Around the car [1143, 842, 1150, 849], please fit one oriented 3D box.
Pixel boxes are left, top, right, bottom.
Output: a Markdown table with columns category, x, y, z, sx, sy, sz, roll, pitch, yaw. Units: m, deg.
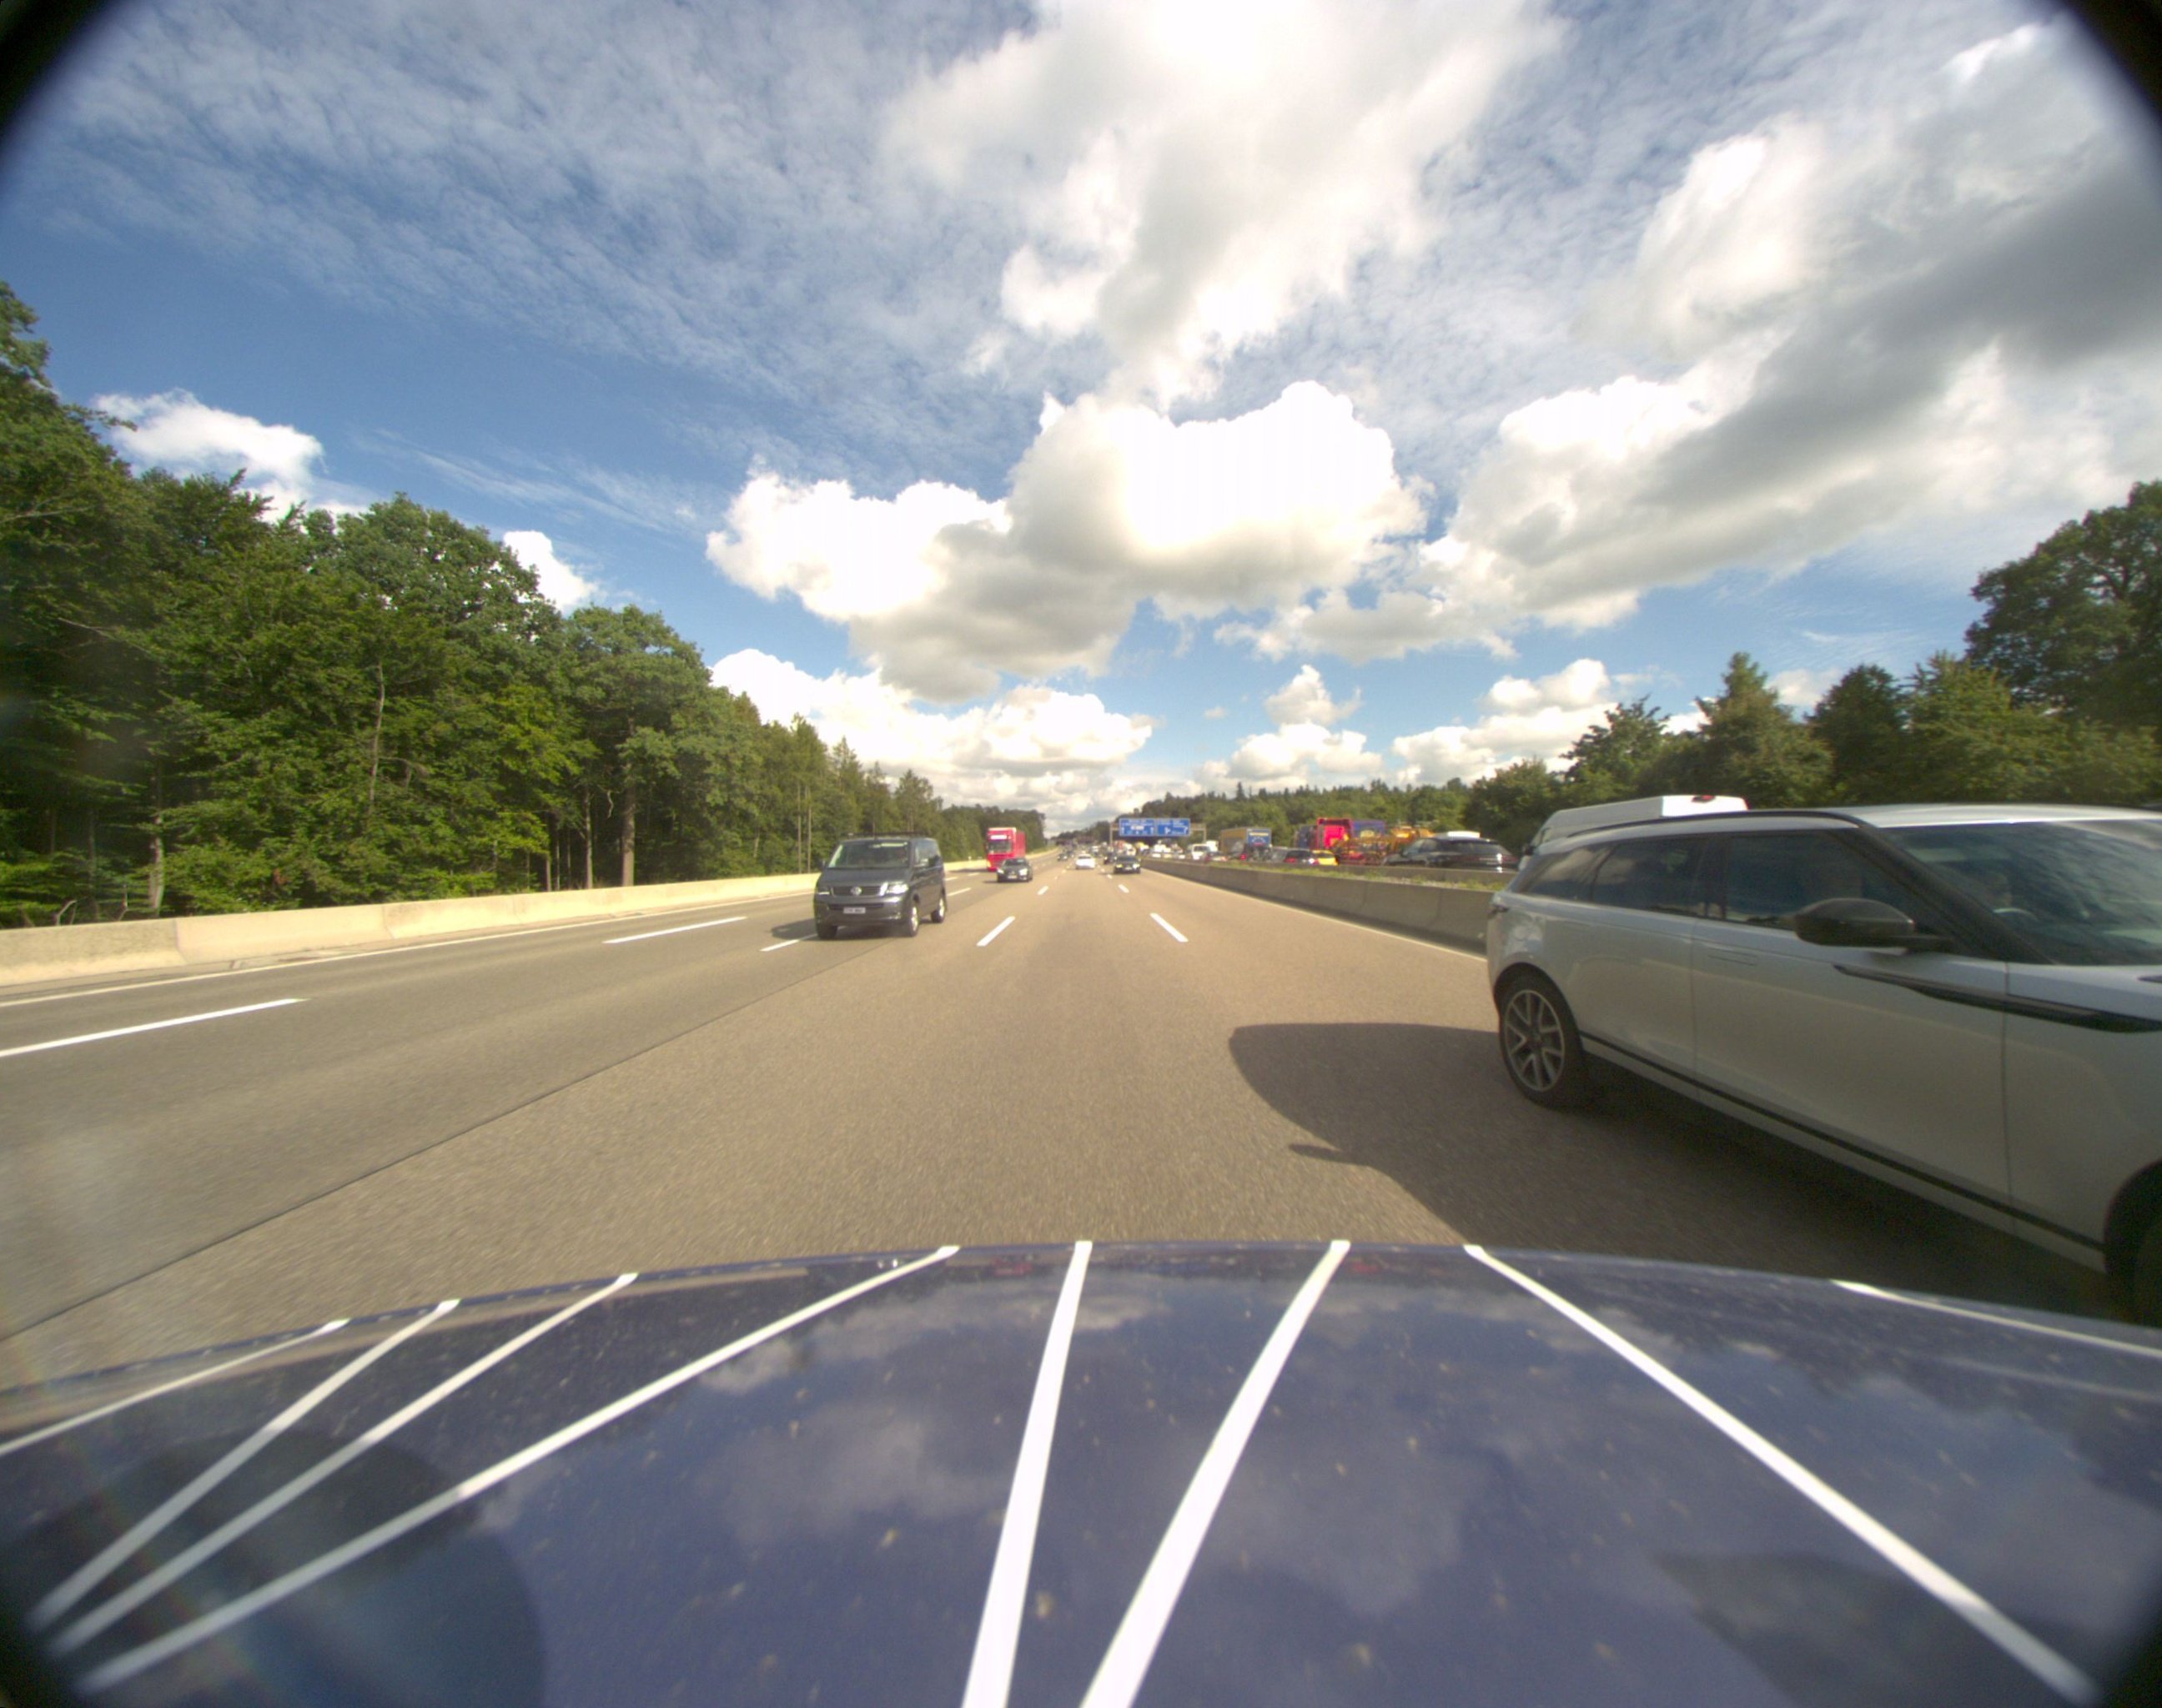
| category | x | y | z | sx | sy | sz | roll | pitch | yaw |
| --- | --- | --- | --- | --- | --- | --- | --- | --- | --- |
| car | 19.420 | -2.450 | 224.749 | 1.804 | 1.865 | 3.950 | -1 | 1 | 0 |

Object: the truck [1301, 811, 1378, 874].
| category | x | y | z | sx | sy | sz | roll | pitch | yaw |
| --- | --- | --- | --- | --- | --- | --- | --- | --- | --- |
| truck | 17.623 | -0.769 | 52.304 | 2.783 | 3.915 | 6.852 | -2 | 1 | -1 |

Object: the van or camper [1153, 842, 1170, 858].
| category | x | y | z | sx | sy | sz | roll | pitch | yaw |
| --- | --- | --- | --- | --- | --- | --- | --- | --- | --- |
| van or camper | 14.767 | -0.847 | 139.215 | 2.397 | 2.696 | 6.629 | -2 | 2 | 1 |

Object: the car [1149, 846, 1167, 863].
| category | x | y | z | sx | sy | sz | roll | pitch | yaw |
| --- | --- | --- | --- | --- | --- | --- | --- | --- | --- |
| car | 10.129 | 0.036 | 100.321 | 1.998 | 2.002 | 4.408 | -1 | 2 | 1 |

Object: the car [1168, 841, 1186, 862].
| category | x | y | z | sx | sy | sz | roll | pitch | yaw |
| --- | --- | --- | --- | --- | --- | --- | --- | --- | --- |
| car | 14.772 | -0.390 | 116.819 | 1.998 | 2.946 | 5.402 | -3 | 1 | 0 |

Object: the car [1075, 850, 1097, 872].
| category | x | y | z | sx | sy | sz | roll | pitch | yaw |
| --- | --- | --- | --- | --- | --- | --- | --- | --- | --- |
| car | 0.515 | 0.660 | 74.874 | 1.998 | 2.002 | 4.000 | -2 | 0 | 2 |

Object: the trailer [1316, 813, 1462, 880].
| category | x | y | z | sx | sy | sz | roll | pitch | yaw |
| --- | --- | --- | --- | --- | --- | --- | --- | --- | --- |
| trailer | 17.700 | -0.395 | 45.378 | 2.735 | 3.316 | 14.217 | -2 | 0 | -1 |

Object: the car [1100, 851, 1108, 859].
| category | x | y | z | sx | sy | sz | roll | pitch | yaw |
| --- | --- | --- | --- | --- | --- | --- | --- | --- | --- |
| car | 5.123 | 0.194 | 169.730 | 1.804 | 1.783 | 3.757 | -1 | 1 | 0 |

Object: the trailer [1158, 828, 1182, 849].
| category | x | y | z | sx | sy | sz | roll | pitch | yaw |
| --- | --- | --- | --- | --- | --- | --- | --- | --- | --- |
| trailer | 18.163 | -3.222 | 155.993 | 2.837 | 3.953 | 15.999 | -2 | 2 | 0 |

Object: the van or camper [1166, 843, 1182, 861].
| category | x | y | z | sx | sy | sz | roll | pitch | yaw |
| --- | --- | --- | --- | --- | --- | --- | --- | --- | --- |
| van or camper | 15.434 | -0.322 | 126.407 | 2.050 | 2.696 | 5.749 | -2 | 2 | 1 |

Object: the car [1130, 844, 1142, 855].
| category | x | y | z | sx | sy | sz | roll | pitch | yaw |
| --- | --- | --- | --- | --- | --- | --- | --- | --- | --- |
| car | 11.368 | -0.930 | 157.405 | 1.998 | 2.088 | 5.276 | -2 | 2 | 1 |

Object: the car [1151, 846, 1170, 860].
| category | x | y | z | sx | sy | sz | roll | pitch | yaw |
| --- | --- | --- | --- | --- | --- | --- | --- | --- | --- |
| car | 10.854 | -0.149 | 104.060 | 1.998 | 1.733 | 4.294 | -3 | 1 | 0 |

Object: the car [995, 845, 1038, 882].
| category | x | y | z | sx | sy | sz | roll | pitch | yaw |
| --- | --- | --- | --- | --- | --- | --- | --- | --- | --- |
| car | -3.674 | 0.498 | 44.277 | 1.998 | 2.002 | 4.000 | -2 | 0 | 2 |

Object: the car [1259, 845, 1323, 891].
| category | x | y | z | sx | sy | sz | roll | pitch | yaw |
| --- | --- | --- | --- | --- | --- | --- | --- | --- | --- |
| car | 9.580 | 0.583 | 34.992 | 1.691 | 1.806 | 4.294 | -2 | 2 | -1 |

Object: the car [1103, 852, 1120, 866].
| category | x | y | z | sx | sy | sz | roll | pitch | yaw |
| --- | --- | --- | --- | --- | --- | --- | --- | --- | --- |
| car | 3.823 | 0.645 | 96.398 | 1.911 | 1.582 | 4.286 | -2 | 2 | 0 |

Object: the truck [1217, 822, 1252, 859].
| category | x | y | z | sx | sy | sz | roll | pitch | yaw |
| --- | --- | --- | --- | --- | --- | --- | --- | --- | --- |
| truck | 17.927 | -1.619 | 88.976 | 2.743 | 4.125 | 5.614 | -2 | 2 | -1 |

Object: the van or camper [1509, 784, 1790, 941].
| category | x | y | z | sx | sy | sz | roll | pitch | yaw |
| --- | --- | --- | --- | --- | --- | --- | --- | --- | --- |
| van or camper | 13.519 | 0.165 | 18.814 | 2.144 | 3.154 | 6.243 | -2 | 1 | -1 |

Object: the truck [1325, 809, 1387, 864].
| category | x | y | z | sx | sy | sz | roll | pitch | yaw |
| --- | --- | --- | --- | --- | --- | --- | --- | --- | --- |
| truck | 21.525 | -1.294 | 59.697 | 2.819 | 4.125 | 5.452 | 0 | 1 | -1 |

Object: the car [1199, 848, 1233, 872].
| category | x | y | z | sx | sy | sz | roll | pitch | yaw |
| --- | --- | --- | --- | --- | --- | --- | --- | --- | --- |
| car | 9.948 | 0.421 | 56.344 | 1.728 | 1.594 | 3.999 | -2 | 1 | -1 |

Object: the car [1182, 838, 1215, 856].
| category | x | y | z | sx | sy | sz | roll | pitch | yaw |
| --- | --- | --- | --- | --- | --- | --- | --- | --- | --- |
| car | 9.995 | -0.661 | 65.079 | 1.854 | 1.347 | 5.486 | -2 | 2 | -1 |

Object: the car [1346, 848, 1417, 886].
| category | x | y | z | sx | sy | sz | roll | pitch | yaw |
| --- | --- | --- | --- | --- | --- | --- | --- | --- | --- |
| car | 13.847 | 0.556 | 35.292 | 1.640 | 1.582 | 3.999 | -2 | 1 | -1 |

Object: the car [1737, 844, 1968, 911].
| category | x | y | z | sx | sy | sz | roll | pitch | yaw |
| --- | --- | --- | --- | --- | --- | --- | --- | --- | --- |
| car | 21.176 | 0.557 | 21.186 | 1.998 | 1.527 | 4.426 | -2 | 2 | 2 |

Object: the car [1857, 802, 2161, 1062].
| category | x | y | z | sx | sy | sz | roll | pitch | yaw |
| --- | --- | --- | --- | --- | --- | --- | --- | --- | --- |
| car | 9.238 | 0.568 | 5.879 | 1.887 | 2.002 | 4.519 | -2 | 0 | 2 |

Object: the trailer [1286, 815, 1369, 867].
| category | x | y | z | sx | sy | sz | roll | pitch | yaw |
| --- | --- | --- | --- | --- | --- | --- | --- | --- | --- |
| trailer | 21.635 | -1.181 | 67.837 | 2.816 | 4.096 | 14.038 | -2 | 1 | 1 |

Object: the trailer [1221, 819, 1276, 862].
| category | x | y | z | sx | sy | sz | roll | pitch | yaw |
| --- | --- | --- | --- | --- | --- | --- | --- | --- | --- |
| trailer | 17.998 | -1.521 | 82.844 | 2.778 | 4.211 | 13.654 | -2 | 2 | -1 |

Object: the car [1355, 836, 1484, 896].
| category | x | y | z | sx | sy | sz | roll | pitch | yaw |
| --- | --- | --- | --- | --- | --- | --- | --- | --- | --- |
| car | 9.797 | 0.303 | 22.409 | 1.841 | 1.582 | 4.288 | -1 | 1 | -1 |

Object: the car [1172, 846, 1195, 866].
| category | x | y | z | sx | sy | sz | roll | pitch | yaw |
| --- | --- | --- | --- | --- | --- | --- | --- | --- | --- |
| car | 10.239 | 0.175 | 76.324 | 1.691 | 1.806 | 4.294 | -2 | 2 | -1 |

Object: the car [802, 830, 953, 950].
| category | x | y | z | sx | sy | sz | roll | pitch | yaw |
| --- | --- | --- | --- | --- | --- | --- | --- | --- | --- |
| car | -4.141 | 0.632 | 16.377 | 1.927 | 2.153 | 4.960 | -1 | 1 | -1 |

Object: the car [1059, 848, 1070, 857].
| category | x | y | z | sx | sy | sz | roll | pitch | yaw |
| --- | --- | --- | --- | --- | --- | --- | --- | --- | --- |
| car | -3.067 | -0.260 | 141.924 | 1.911 | 1.582 | 4.285 | -2 | 2 | -2 |

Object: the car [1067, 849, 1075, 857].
| category | x | y | z | sx | sy | sz | roll | pitch | yaw |
| --- | --- | --- | --- | --- | --- | --- | --- | --- | --- |
| car | -2.574 | -0.241 | 192.133 | 1.804 | 1.865 | 3.950 | -1 | 1 | 0 |

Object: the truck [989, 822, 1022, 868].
| category | x | y | z | sx | sy | sz | roll | pitch | yaw |
| --- | --- | --- | --- | --- | --- | --- | --- | --- | --- |
| truck | -7.160 | -0.919 | 72.163 | 2.532 | 4.179 | 4.652 | -1 | 2 | 0 |

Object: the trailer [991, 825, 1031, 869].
| category | x | y | z | sx | sy | sz | roll | pitch | yaw |
| --- | --- | --- | --- | --- | --- | --- | --- | --- | --- |
| trailer | -7.084 | -0.871 | 78.992 | 2.531 | 4.096 | 14.373 | -1 | 1 | 0 |

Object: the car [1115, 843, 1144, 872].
| category | x | y | z | sx | sy | sz | roll | pitch | yaw |
| --- | --- | --- | --- | --- | --- | --- | --- | --- | --- |
| car | 3.488 | 0.218 | 55.544 | 1.919 | 2.002 | 4.000 | -2 | 0 | 2 |

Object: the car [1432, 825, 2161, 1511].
| category | x | y | z | sx | sy | sz | roll | pitch | yaw |
| --- | --- | --- | --- | --- | --- | --- | --- | --- | --- |
| car | 3.472 | 0.711 | 2.827 | 1.905 | 1.597 | 5.104 | -2 | 1 | -1 |

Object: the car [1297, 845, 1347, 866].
| category | x | y | z | sx | sy | sz | roll | pitch | yaw |
| --- | --- | --- | --- | --- | --- | --- | --- | --- | --- |
| car | 14.173 | 0.064 | 44.905 | 1.589 | 1.120 | 3.999 | -2 | 1 | -1 |

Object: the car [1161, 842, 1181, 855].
| category | x | y | z | sx | sy | sz | roll | pitch | yaw |
| --- | --- | --- | --- | --- | --- | --- | --- | --- | --- |
| car | 10.434 | -0.669 | 88.384 | 1.761 | 1.369 | 3.999 | -2 | 1 | -1 |

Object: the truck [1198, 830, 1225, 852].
| category | x | y | z | sx | sy | sz | roll | pitch | yaw |
| --- | --- | --- | --- | --- | --- | --- | --- | --- | --- |
| truck | 18.312 | -1.816 | 107.398 | 2.334 | 2.785 | 7.948 | -3 | 1 | 0 |

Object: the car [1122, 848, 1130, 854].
| category | x | y | z | sx | sy | sz | roll | pitch | yaw |
| --- | --- | --- | --- | --- | --- | --- | --- | --- | --- |
| car | 10.326 | -0.679 | 174.904 | 1.700 | 1.364 | 4.000 | -3 | 0 | 1 |

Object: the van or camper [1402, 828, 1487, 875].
| category | x | y | z | sx | sy | sz | roll | pitch | yaw |
| --- | --- | --- | --- | --- | --- | --- | --- | --- | --- |
| van or camper | 25.879 | -0.213 | 54.491 | 2.579 | 3.059 | 7.194 | -2 | 1 | -1 |

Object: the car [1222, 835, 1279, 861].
| category | x | y | z | sx | sy | sz | roll | pitch | yaw |
| --- | --- | --- | --- | --- | --- | --- | --- | --- | --- |
| car | 9.742 | -0.346 | 44.141 | 1.819 | 1.341 | 6.231 | -2 | 1 | -1 |
